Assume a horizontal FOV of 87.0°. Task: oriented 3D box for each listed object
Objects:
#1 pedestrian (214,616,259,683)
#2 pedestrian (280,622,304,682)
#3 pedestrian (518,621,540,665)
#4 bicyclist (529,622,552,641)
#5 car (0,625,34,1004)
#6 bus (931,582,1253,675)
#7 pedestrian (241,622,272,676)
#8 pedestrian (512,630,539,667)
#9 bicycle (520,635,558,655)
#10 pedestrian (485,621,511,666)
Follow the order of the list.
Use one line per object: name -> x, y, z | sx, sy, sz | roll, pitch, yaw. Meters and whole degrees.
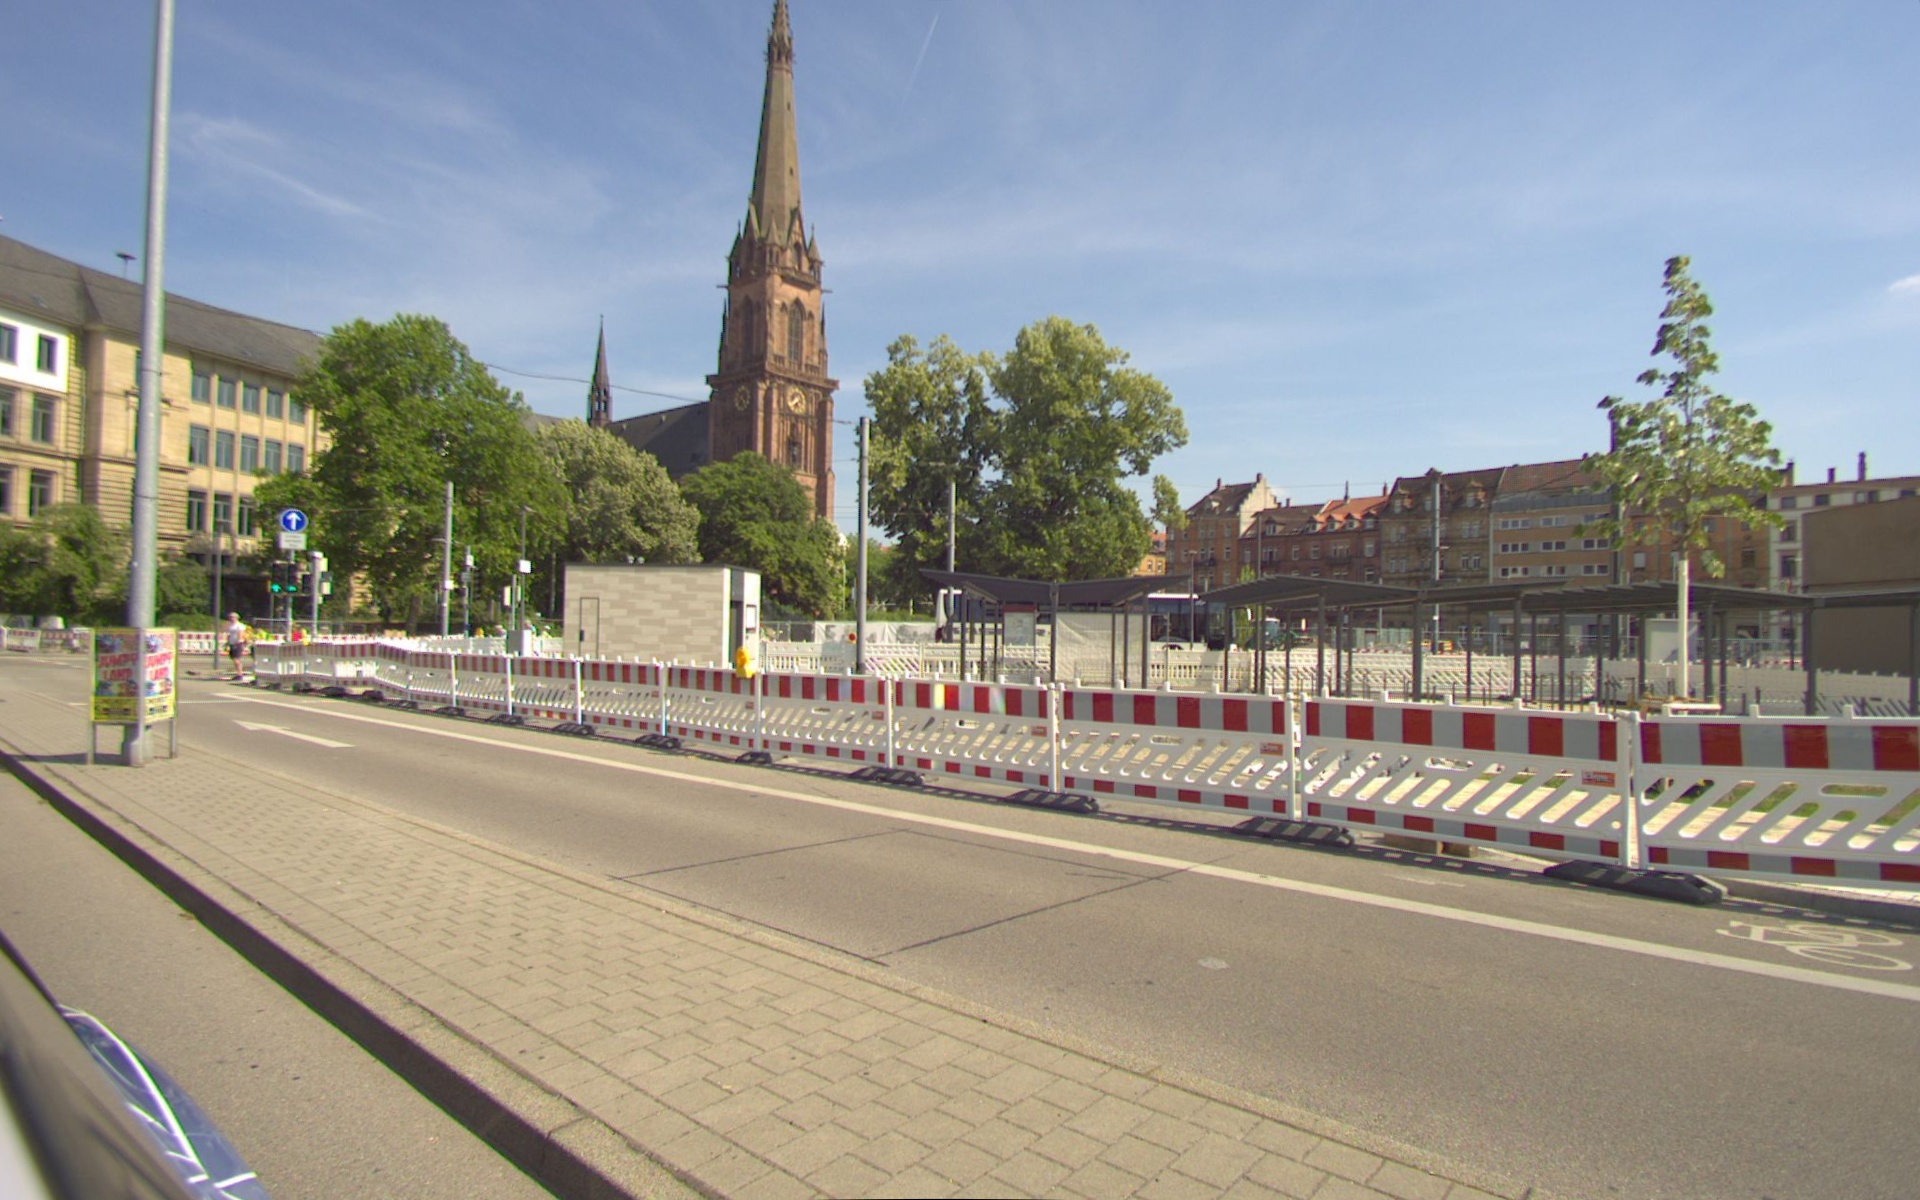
pedestrian -> -20.073, 1.361, 28.073 | 0.827, 1.826, 0.651 | 1, -2, -18
pedestrian -> -18.095, 1.401, 27.418 | 0.686, 1.628, 0.346 | -1, -3, 42
pedestrian -> -16.129, 1.604, 37.848 | 0.577, 1.628, 0.690 | 0, -2, -7
bicyclist -> -21.323, 1.587, 51.444 | 0.858, 0.934, 0.682 | 1, -2, 2
car -> -6.266, 0.857, 5.071 | 4.825, 1.530, 1.840 | 0, -2, 41
bus -> 5.227, 1.143, 41.226 | 12.504, 3.516, 2.856 | 1, -2, 7
pedestrian -> -21.058, 1.450, 30.284 | 0.656, 1.555, 0.425 | -2, 0, -24
pedestrian -> -19.940, 2.221, 46.439 | 0.926, 1.668, 0.845 | 2, -3, -41
bicycle -> -21.377, 2.283, 51.430 | 1.643, 0.954, 0.701 | 1, -2, 2
pedestrian -> -16.783, 1.581, 36.791 | 0.652, 1.628, 0.795 | 2, -3, -40
